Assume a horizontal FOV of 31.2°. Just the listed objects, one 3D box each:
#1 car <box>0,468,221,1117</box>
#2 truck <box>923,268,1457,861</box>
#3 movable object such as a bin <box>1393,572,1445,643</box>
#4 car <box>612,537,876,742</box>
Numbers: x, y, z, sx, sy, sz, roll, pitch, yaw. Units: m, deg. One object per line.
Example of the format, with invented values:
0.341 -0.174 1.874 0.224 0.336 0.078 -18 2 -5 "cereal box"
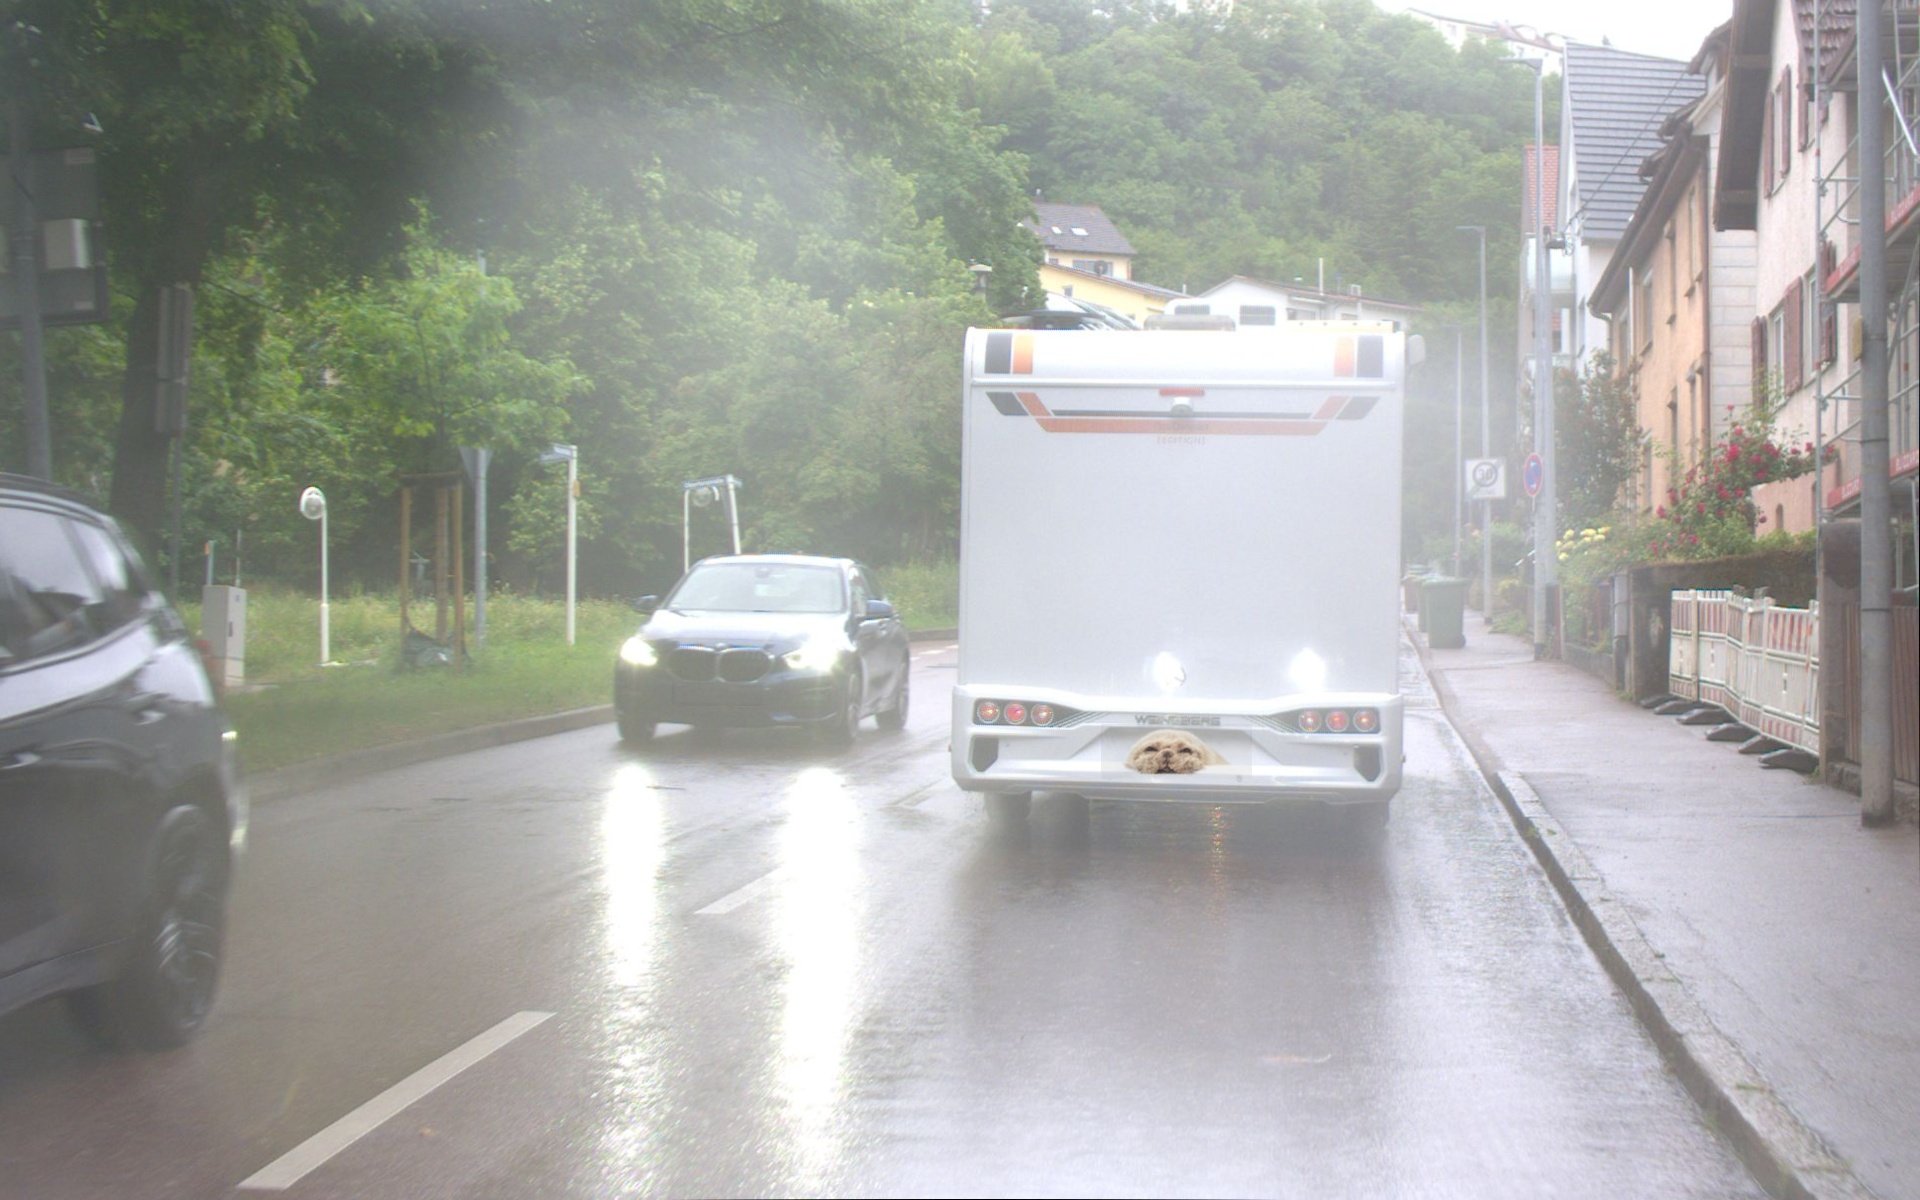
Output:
-3.315 0.456 8.396 1.888 1.610 4.139 2 1 3 "car"
1.425 -0.215 19.752 2.516 2.808 6.200 2 1 6 "truck"
6.979 0.109 52.271 0.720 1.048 0.800 2 1 10 "movable object such as a bin"
-1.617 0.255 26.960 1.765 1.436 4.064 2 1 0 "car"
